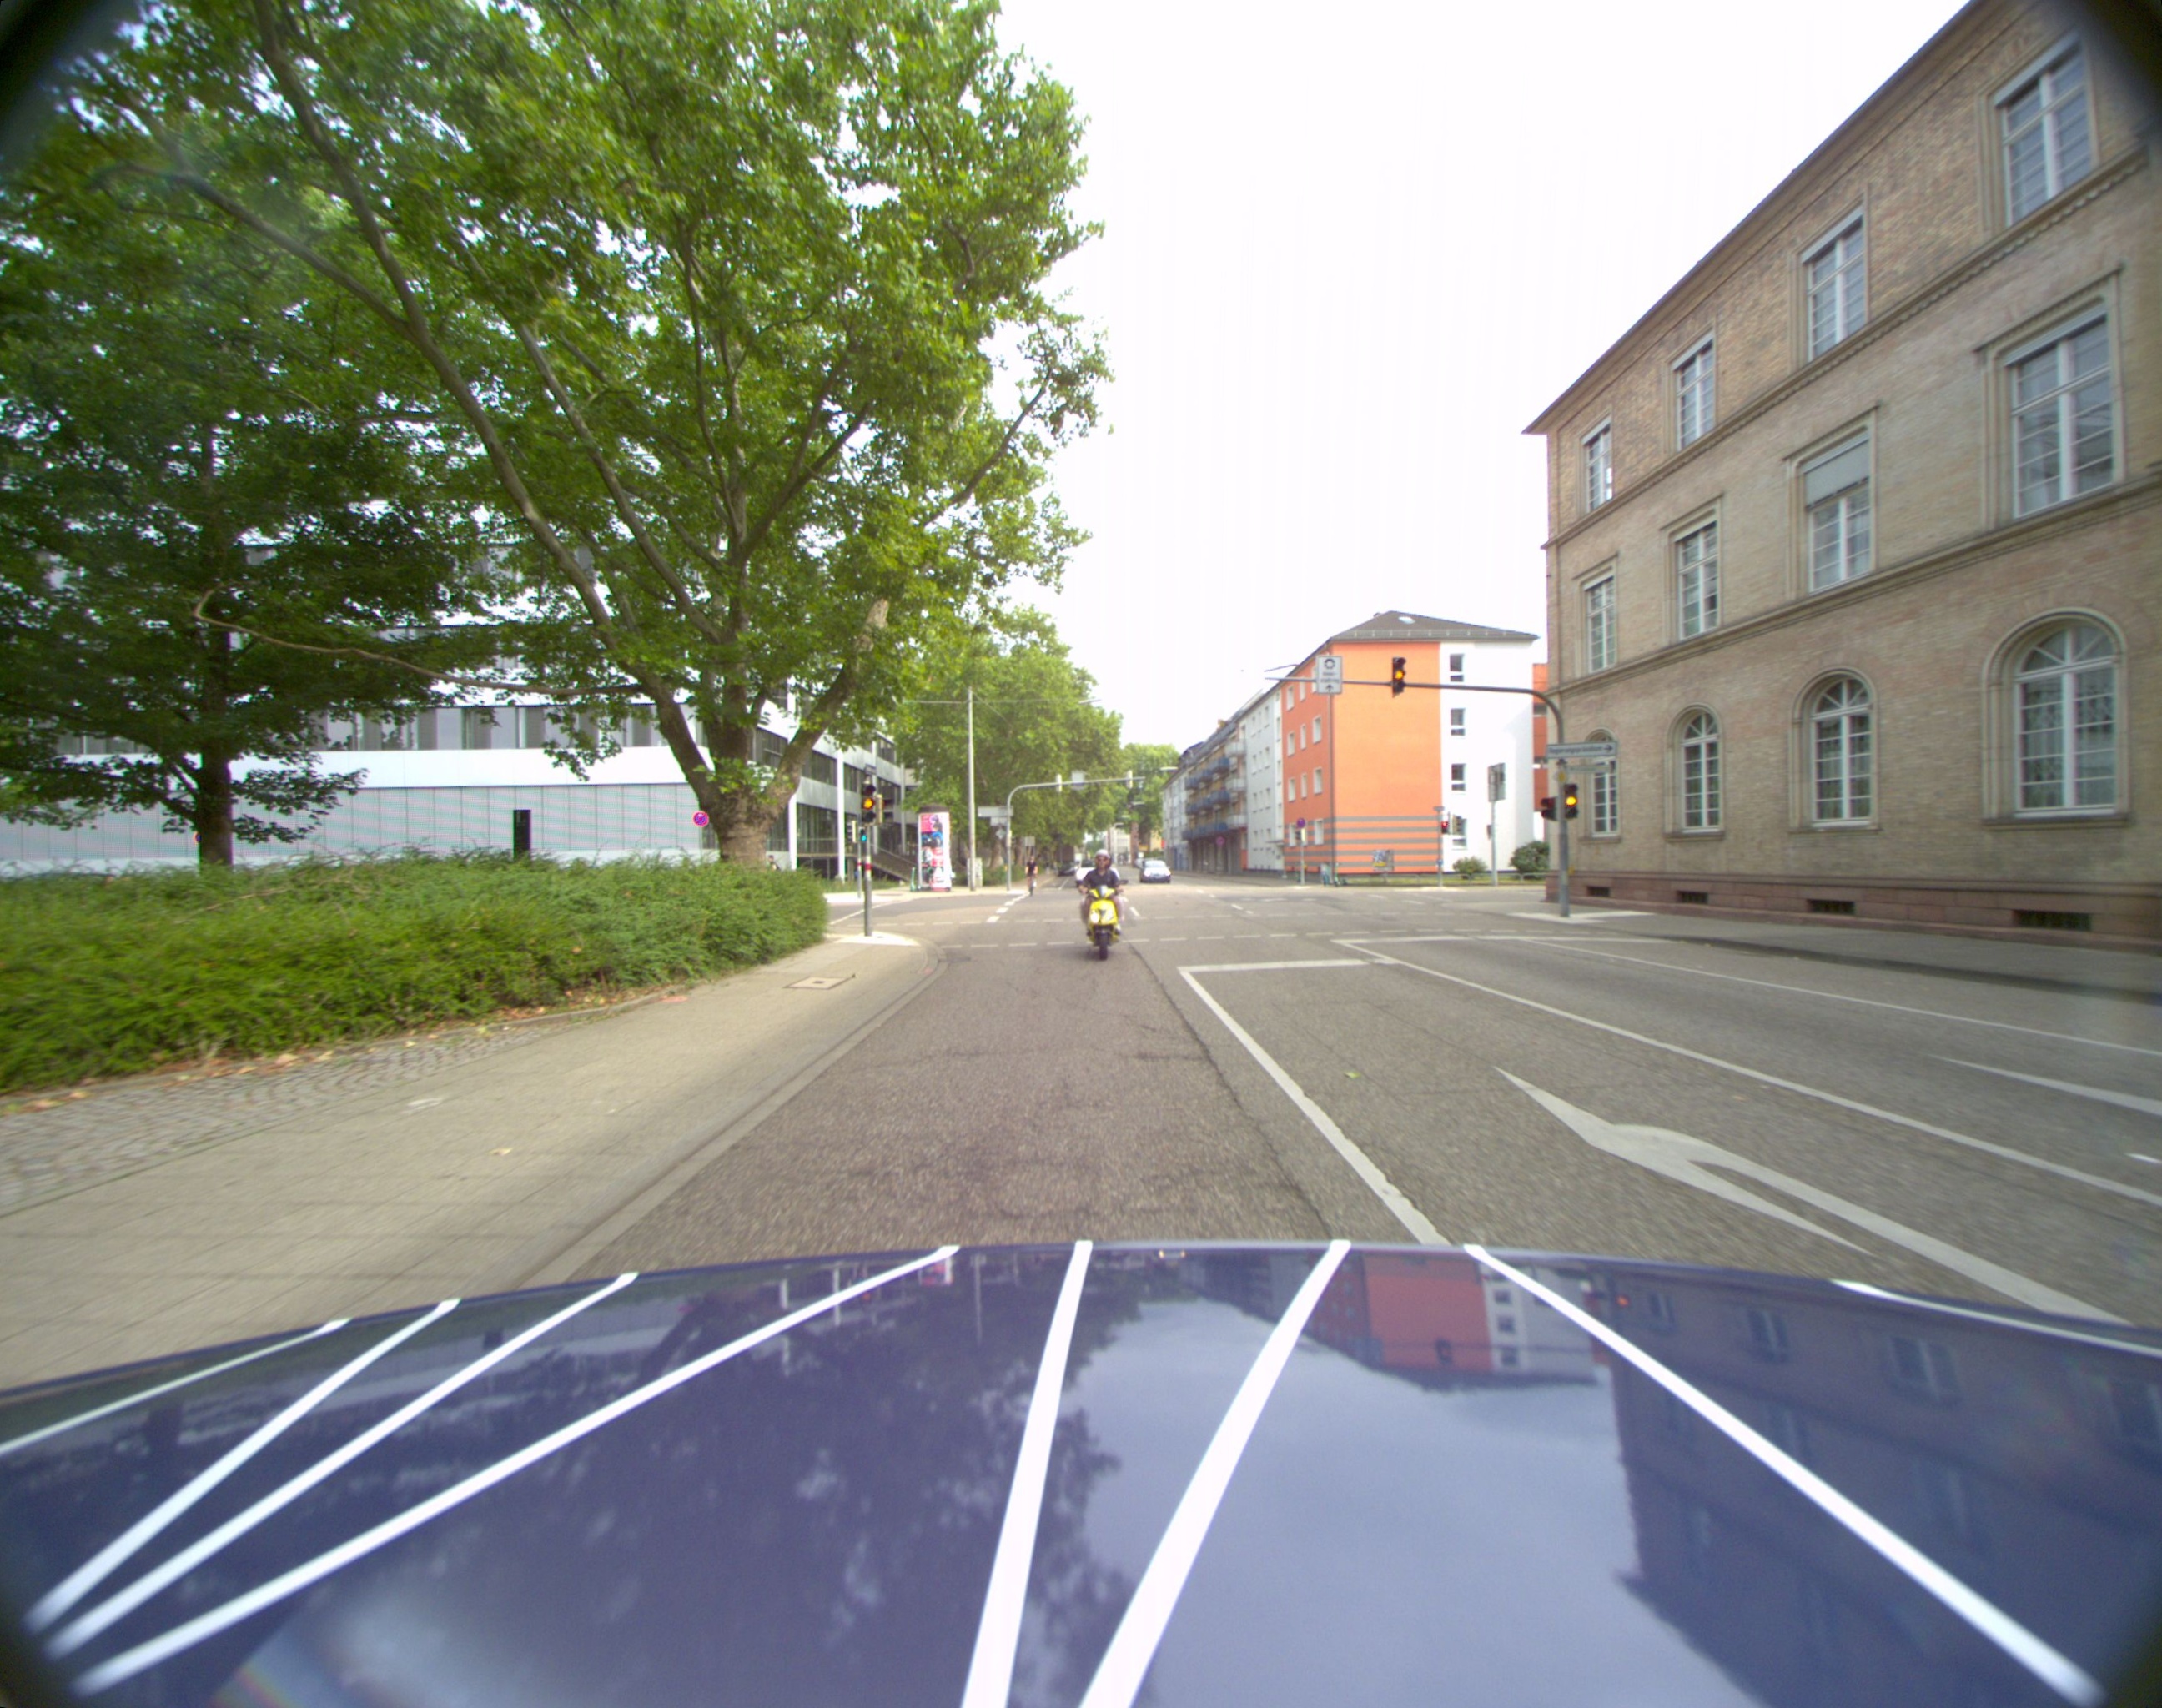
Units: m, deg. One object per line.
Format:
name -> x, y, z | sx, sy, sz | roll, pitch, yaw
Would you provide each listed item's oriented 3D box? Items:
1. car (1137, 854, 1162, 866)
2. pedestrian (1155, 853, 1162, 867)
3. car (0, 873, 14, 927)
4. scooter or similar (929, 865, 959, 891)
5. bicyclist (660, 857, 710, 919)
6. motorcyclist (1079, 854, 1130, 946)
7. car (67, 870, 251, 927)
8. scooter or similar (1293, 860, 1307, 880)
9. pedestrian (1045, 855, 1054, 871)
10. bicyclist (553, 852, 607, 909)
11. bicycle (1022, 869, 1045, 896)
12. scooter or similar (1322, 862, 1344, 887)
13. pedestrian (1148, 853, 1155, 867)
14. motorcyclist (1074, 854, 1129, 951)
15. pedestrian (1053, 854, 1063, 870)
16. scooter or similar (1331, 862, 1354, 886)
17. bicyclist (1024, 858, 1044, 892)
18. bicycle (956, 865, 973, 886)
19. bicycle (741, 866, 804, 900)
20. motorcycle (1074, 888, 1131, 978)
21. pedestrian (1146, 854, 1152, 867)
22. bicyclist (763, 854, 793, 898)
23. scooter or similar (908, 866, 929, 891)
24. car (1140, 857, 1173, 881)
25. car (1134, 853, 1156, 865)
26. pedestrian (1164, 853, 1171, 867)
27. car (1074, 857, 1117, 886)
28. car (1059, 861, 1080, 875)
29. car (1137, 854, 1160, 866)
car -> 12.019, 1.072, 133.717 | 3.997, 2.002, 2.000 | -3, 0, 0
pedestrian -> 11.085, 0.878, 108.487 | 0.842, 2.002, 0.875 | -3, 0, 4
car -> -42.007, 1.789, 27.283 | 4.000, 2.002, 1.999 | -3, 0, -9
scooter or similar -> -6.494, 1.120, 36.032 | 1.309, 1.202, 0.344 | 1, 0, 5
bicyclist -> -11.015, 0.932, 21.153 | 0.831, 1.668, 0.916 | -1, 1, 5
motorcyclist -> 0.380, 0.722, 12.244 | 0.781, 1.419, 0.689 | -1, 0, 2
car -> -34.430, 1.627, 28.503 | 4.000, 1.849, 1.999 | -3, 0, -9
scooter or similar -> 12.515, 0.908, 43.468 | 0.369, 1.117, 1.354 | -3, 0, 1
pedestrian -> -3.970, 1.160, 96.350 | 1.003, 2.002, 0.997 | -3, 0, 2
bicyclist -> -14.069, 0.730, 21.360 | 0.831, 1.568, 0.916 | -1, 1, 5
bicycle -> -1.998, 1.208, 32.307 | 0.771, 1.009, 2.407 | -4, 0, -1
scooter or similar -> 12.166, 0.966, 36.725 | 0.330, 1.172, 1.341 | -3, 0, -13
pedestrian -> 10.284, 0.936, 111.184 | 0.842, 2.002, 0.875 | -3, 0, 4
motorcyclist -> 0.315, 0.719, 11.554 | 0.781, 1.419, 0.764 | -1, 0, 2
pedestrian -> -2.919, 1.061, 96.358 | 1.003, 2.002, 0.997 | -3, 0, 2
scooter or similar -> 12.745, 0.966, 37.096 | 0.330, 1.151, 1.352 | -3, 0, -13
bicyclist -> -2.018, 0.890, 32.616 | 0.784, 1.438, 0.914 | -3, 0, -2
bicycle -> -6.898, 1.253, 44.963 | 0.700, 1.162, 1.725 | -3, 0, 0
bicycle -> -11.456, 1.083, 28.300 | 2.004, 1.124, 0.773 | -3, 0, -10
motorcycle -> 0.341, 1.151, 11.645 | 0.781, 1.171, 1.993 | -1, 0, 3
pedestrian -> 9.995, 0.956, 112.011 | 0.842, 2.002, 0.875 | -3, 0, 4
bicyclist -> -11.284, 0.815, 28.343 | 0.801, 1.574, 0.773 | -3, 0, -8
scooter or similar -> -7.705, 1.134, 35.989 | 0.473, 1.131, 1.307 | 1, 0, -34
car -> 4.788, 0.954, 48.400 | 1.673, 1.430, 3.820 | -1, 0, 0
car -> 12.285, 1.001, 145.388 | 3.997, 2.002, 2.000 | -3, 0, 0
pedestrian -> 12.318, 0.822, 108.682 | 0.842, 2.002, 0.875 | -3, 0, 4
car -> 0.888, 0.968, 44.059 | 1.997, 1.543, 4.523 | -3, 0, 7
car -> -1.269, 1.564, 85.808 | 1.998, 1.532, 4.272 | -3, 0, 2
car -> 12.102, 1.114, 136.291 | 3.997, 2.002, 2.000 | -3, 0, 0
